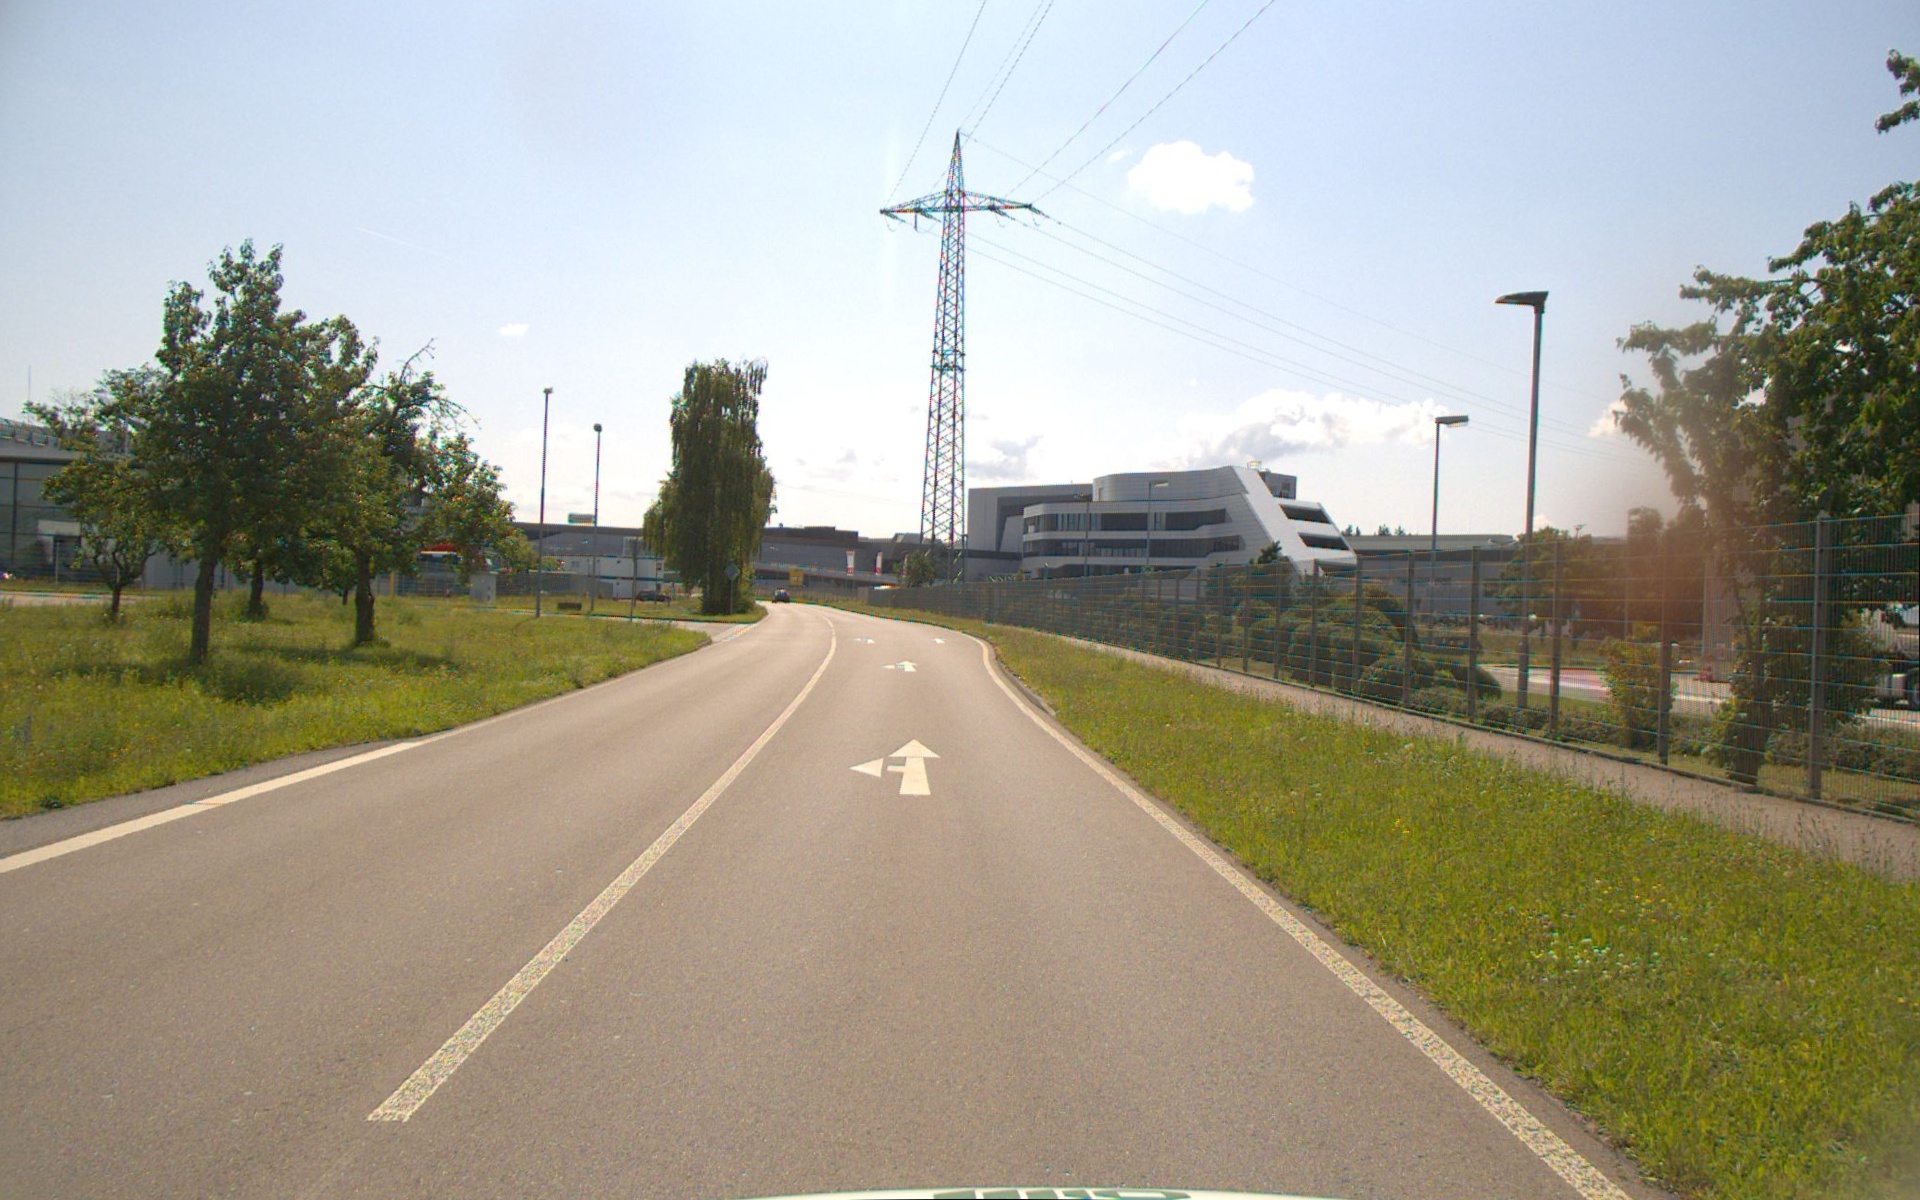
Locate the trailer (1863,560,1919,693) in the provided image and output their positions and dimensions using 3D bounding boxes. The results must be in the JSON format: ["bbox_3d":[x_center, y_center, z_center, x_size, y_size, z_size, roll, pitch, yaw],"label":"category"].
[{"bbox_3d":[29.677,0.808,43.867,3.523,3.800,12.217,1,0,-8],"label":"trailer"}]

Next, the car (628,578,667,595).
[{"bbox_3d":[-33.546,-1.434,177.506,3.913,1.601,1.996,3,0,-9],"label":"car"}]

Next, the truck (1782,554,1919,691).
[{"bbox_3d":[28.817,0.652,50.571,3.528,3.935,6.394,1,0,-10],"label":"truck"}]

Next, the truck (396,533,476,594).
[{"bbox_3d":[-33.072,-2.229,104.711,2.700,3.620,10.253,2,0,-6],"label":"truck"}]

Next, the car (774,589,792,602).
[{"bbox_3d":[-21.272,-0.558,199.049,1.972,1.534,3.997,2,0,-4],"label":"car"}]
